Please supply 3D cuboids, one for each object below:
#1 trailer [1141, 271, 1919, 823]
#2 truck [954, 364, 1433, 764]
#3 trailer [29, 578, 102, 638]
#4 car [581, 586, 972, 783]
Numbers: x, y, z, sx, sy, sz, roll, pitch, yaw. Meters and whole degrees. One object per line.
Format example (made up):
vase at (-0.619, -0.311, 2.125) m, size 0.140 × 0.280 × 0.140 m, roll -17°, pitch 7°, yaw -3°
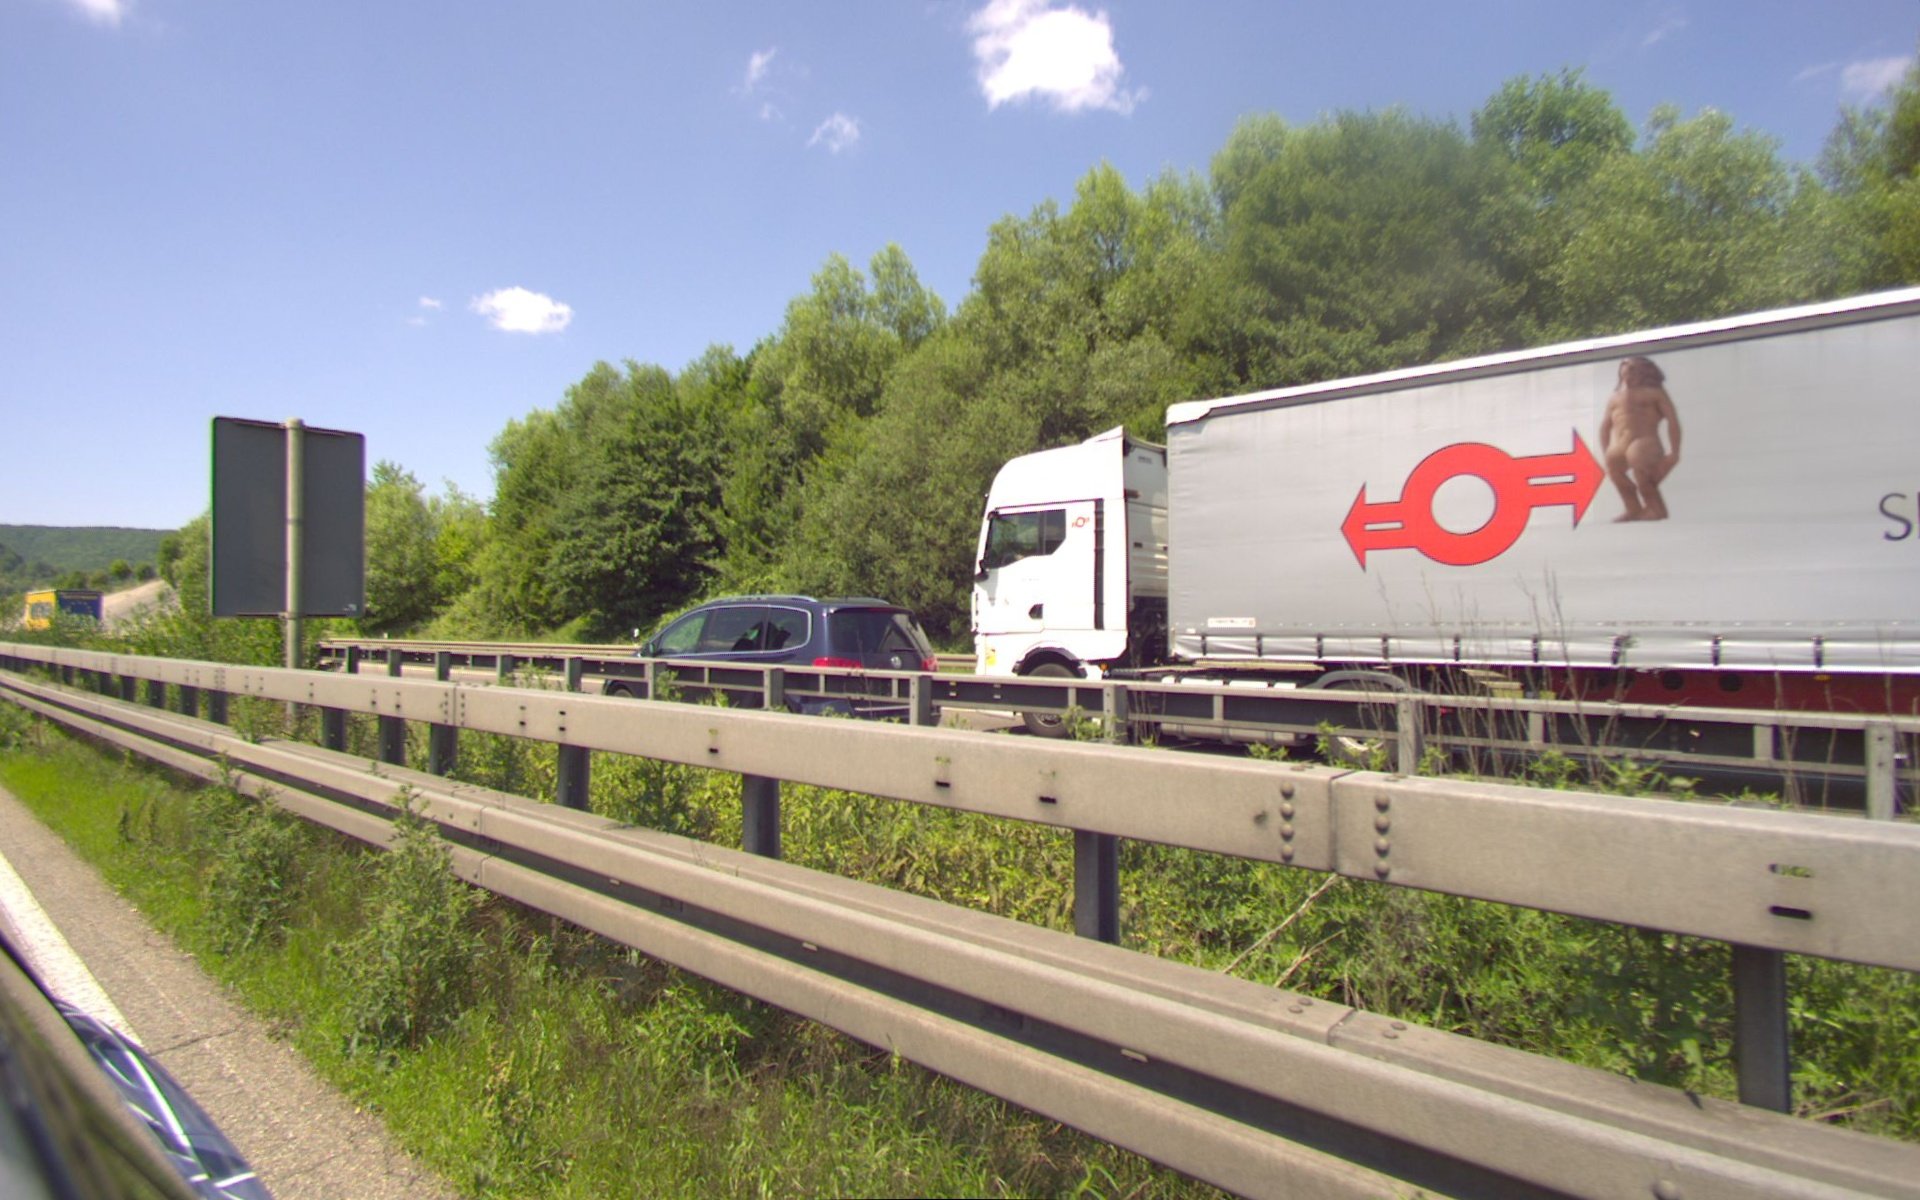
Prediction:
trailer at (8.316, -0.402, 8.078) m, size 14.154 × 4.030 × 2.753 m, roll -2°, pitch -1°, yaw 42°
truck at (2.806, -0.293, 13.004) m, size 5.367 × 4.032 × 2.699 m, roll -2°, pitch -2°, yaw 42°
trailer at (-64.991, 0.668, 73.379) m, size 12.597 × 4.035 × 2.553 m, roll -2°, pitch -1°, yaw 42°
car at (-2.235, 0.815, 11.511) m, size 4.597 × 1.810 × 1.902 m, roll -1°, pitch -1°, yaw 41°
